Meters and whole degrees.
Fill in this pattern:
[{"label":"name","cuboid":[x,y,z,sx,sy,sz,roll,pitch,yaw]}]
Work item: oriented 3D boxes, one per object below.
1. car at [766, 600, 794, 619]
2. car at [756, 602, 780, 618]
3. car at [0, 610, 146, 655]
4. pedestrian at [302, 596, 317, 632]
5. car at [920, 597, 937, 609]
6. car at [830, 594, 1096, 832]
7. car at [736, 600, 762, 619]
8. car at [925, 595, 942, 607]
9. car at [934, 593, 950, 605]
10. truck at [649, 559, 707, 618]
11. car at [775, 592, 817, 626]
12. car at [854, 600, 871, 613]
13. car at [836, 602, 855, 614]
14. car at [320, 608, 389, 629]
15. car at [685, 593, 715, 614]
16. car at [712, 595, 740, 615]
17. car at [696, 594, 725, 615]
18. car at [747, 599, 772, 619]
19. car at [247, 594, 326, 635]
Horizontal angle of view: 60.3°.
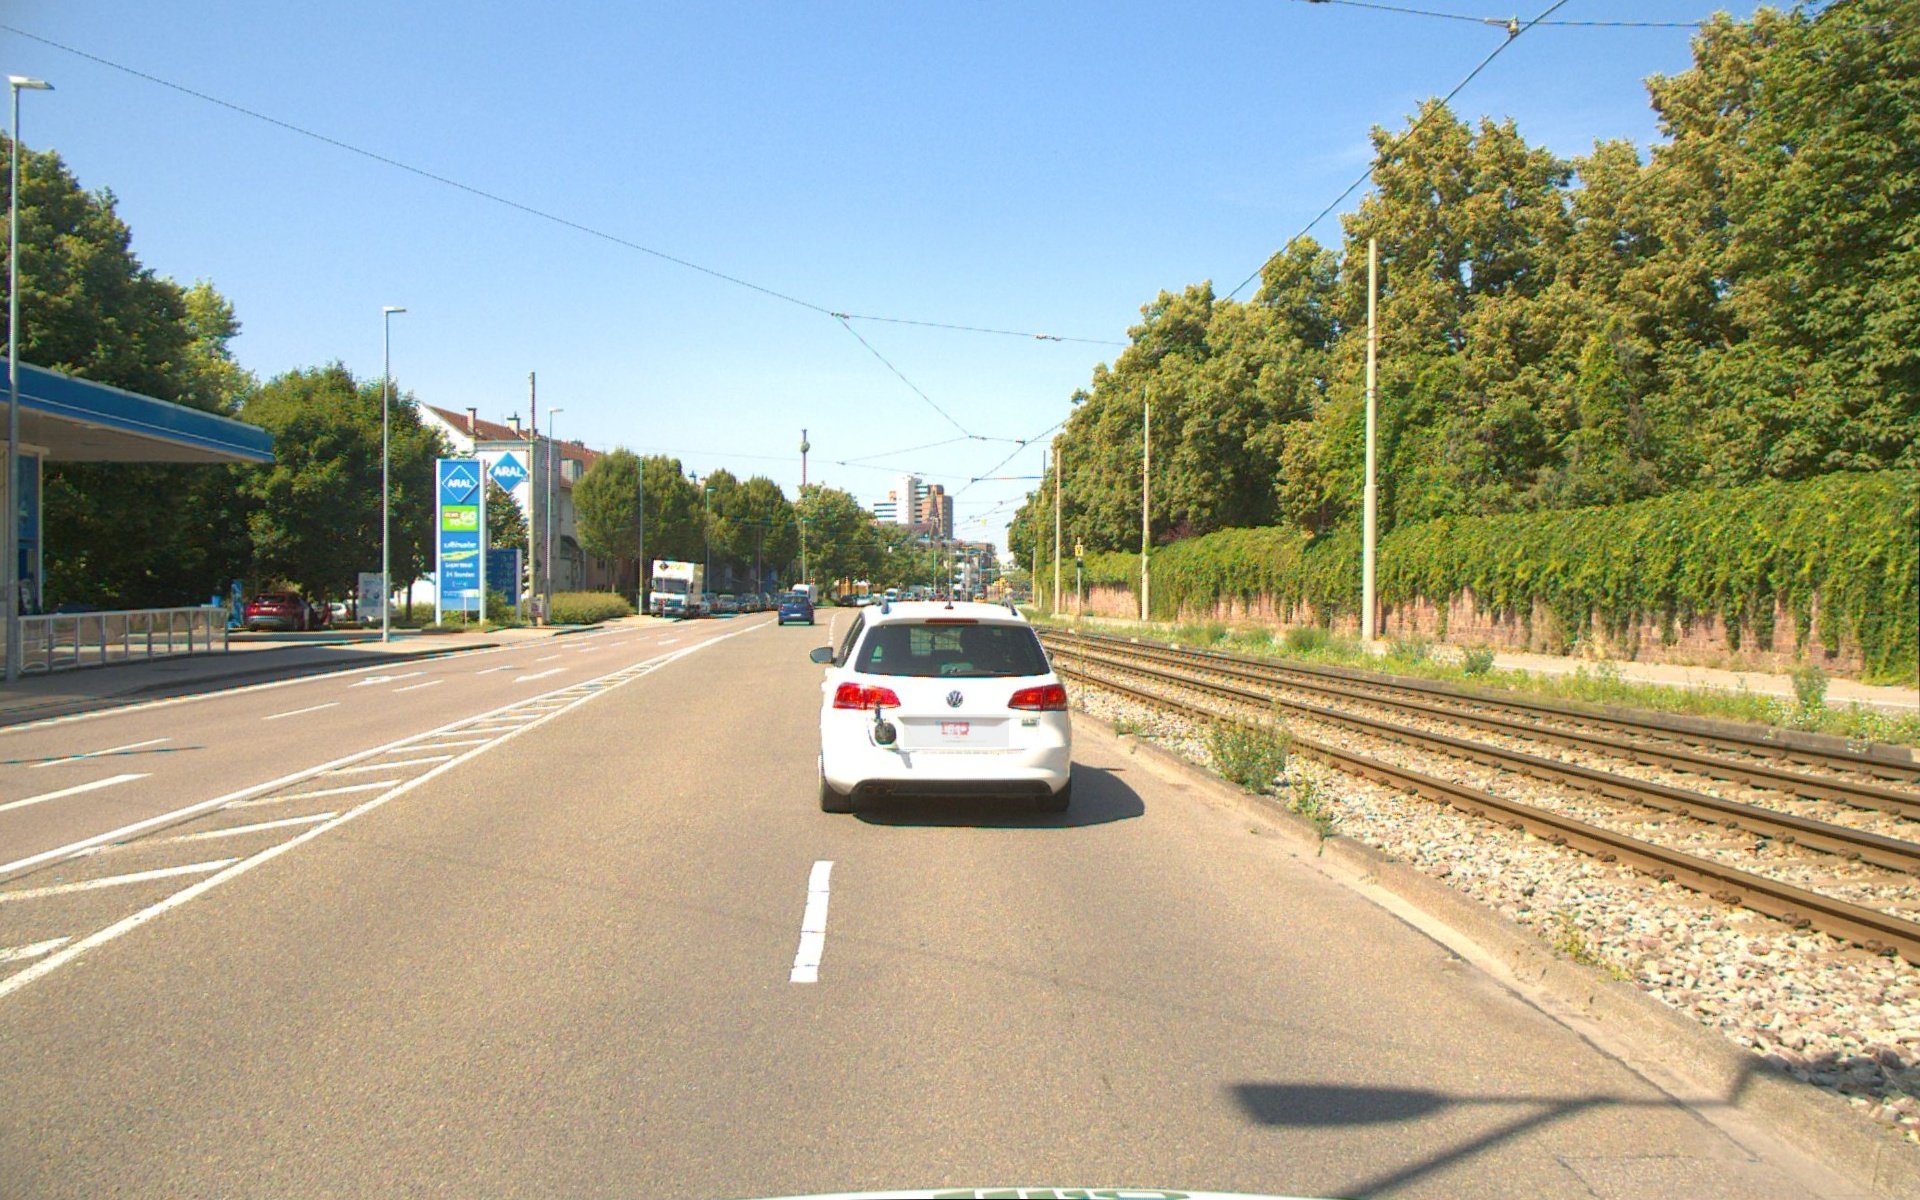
[{"label":"car","cuboid":[-18.048,0.984,165.695,1.763,1.754,4.912,3,0,5]},{"label":"car","cuboid":[-18.593,0.955,160.553,1.655,1.500,4.049,3,0,2]},{"label":"car","cuboid":[-28.563,1.010,53.209,1.762,1.369,4.245,0,0,19]},{"label":"pedestrian","cuboid":[-27.812,0.604,70.709,0.489,1.507,0.500,0,0,-4]},{"label":"car","cuboid":[-3.896,0.362,207.116,1.763,1.534,4.002,1,0,4]},{"label":"car","cuboid":[-0.112,0.710,12.652,1.658,1.476,4.455,1,0,-4]},{"label":"car","cuboid":[-19.036,0.873,149.532,1.681,1.653,4.312,1,0,1]},{"label":"car","cuboid":[-3.401,0.087,212.798,1.763,1.486,4.002,1,0,4]},{"label":"car","cuboid":[-2.363,-0.136,220.992,1.763,1.486,4.002,0,0,4]},{"label":"truck","cuboid":[-18.043,-0.720,106.321,2.614,3.592,8.584,2,0,-3]},{"label":"car","cuboid":[-7.846,0.421,79.328,1.764,1.533,3.998,1,1,-3]},{"label":"car","cuboid":[-11.413,0.789,193.412,1.624,1.445,4.310,-2,0,1]},{"label":"car","cuboid":[-14.549,1.006,209.952,1.663,1.442,4.003,0,0,8]},{"label":"car","cuboid":[-36.986,1.126,101.060,3.573,1.226,1.576,0,0,7]},{"label":"car","cuboid":[-18.759,0.285,119.504,1.722,1.454,4.278,1,0,-3]},{"label":"car","cuboid":[-19.332,0.434,136.871,1.745,1.509,4.854,1,-1,-2]},{"label":"car","cuboid":[-19.023,0.326,126.233,1.696,1.579,4.316,1,0,-3]},{"label":"car","cuboid":[-18.796,0.847,155.072,1.733,1.753,4.869,2,0,0]},{"label":"car","cuboid":[-28.529,0.585,70.157,1.764,1.597,4.514,0,1,-4]}]
